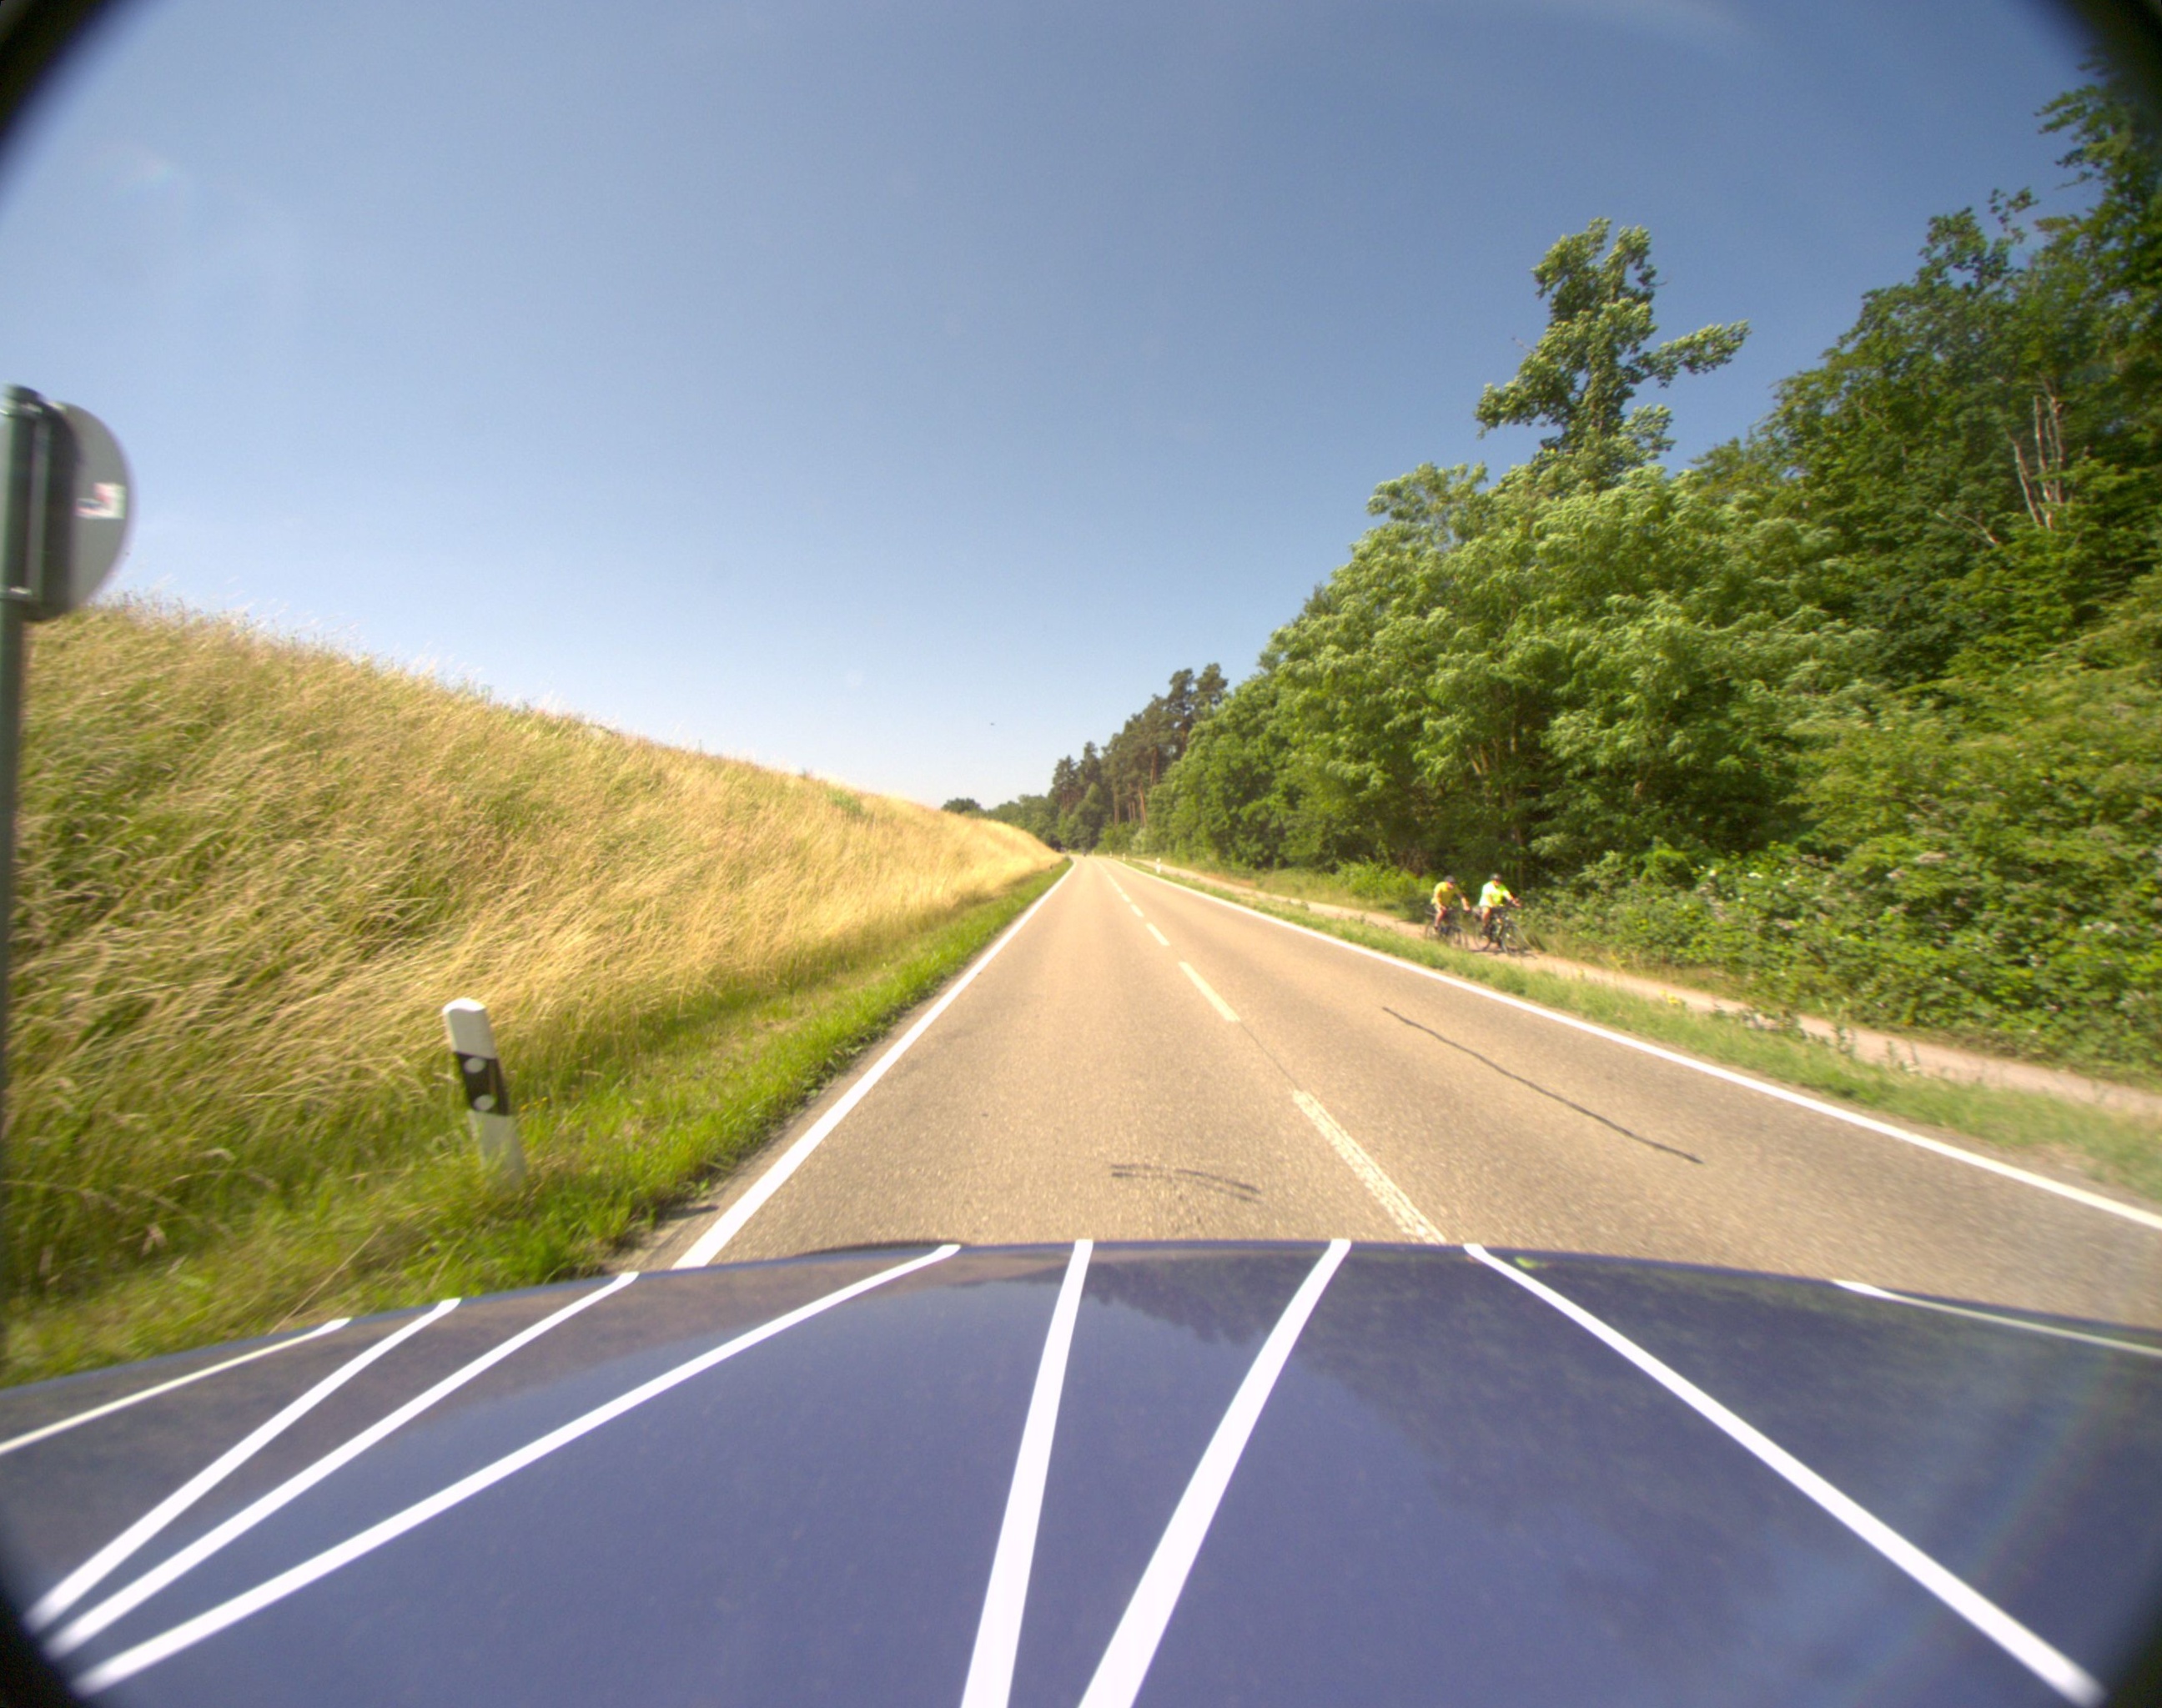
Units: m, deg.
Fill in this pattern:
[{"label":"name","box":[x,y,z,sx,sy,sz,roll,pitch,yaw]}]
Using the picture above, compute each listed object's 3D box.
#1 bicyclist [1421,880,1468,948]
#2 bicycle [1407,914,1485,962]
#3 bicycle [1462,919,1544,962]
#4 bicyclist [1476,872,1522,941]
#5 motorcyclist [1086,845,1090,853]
[{"label":"bicyclist","box":[7.912,1.291,16.567,0.606,1.407,0.702,3,1,0]},{"label":"bicycle","box":[7.881,1.794,16.529,0.641,0.783,2.136,3,0,1]},{"label":"bicycle","box":[9.159,1.857,16.614,0.620,0.677,2.136,0,0,0]},{"label":"bicyclist","box":[9.122,1.140,16.600,0.606,1.408,0.702,-2,3,0]},{"label":"motorcyclist","box":[1.416,-0.938,144.068,0.661,1.519,0.813,3,1,-1]}]
